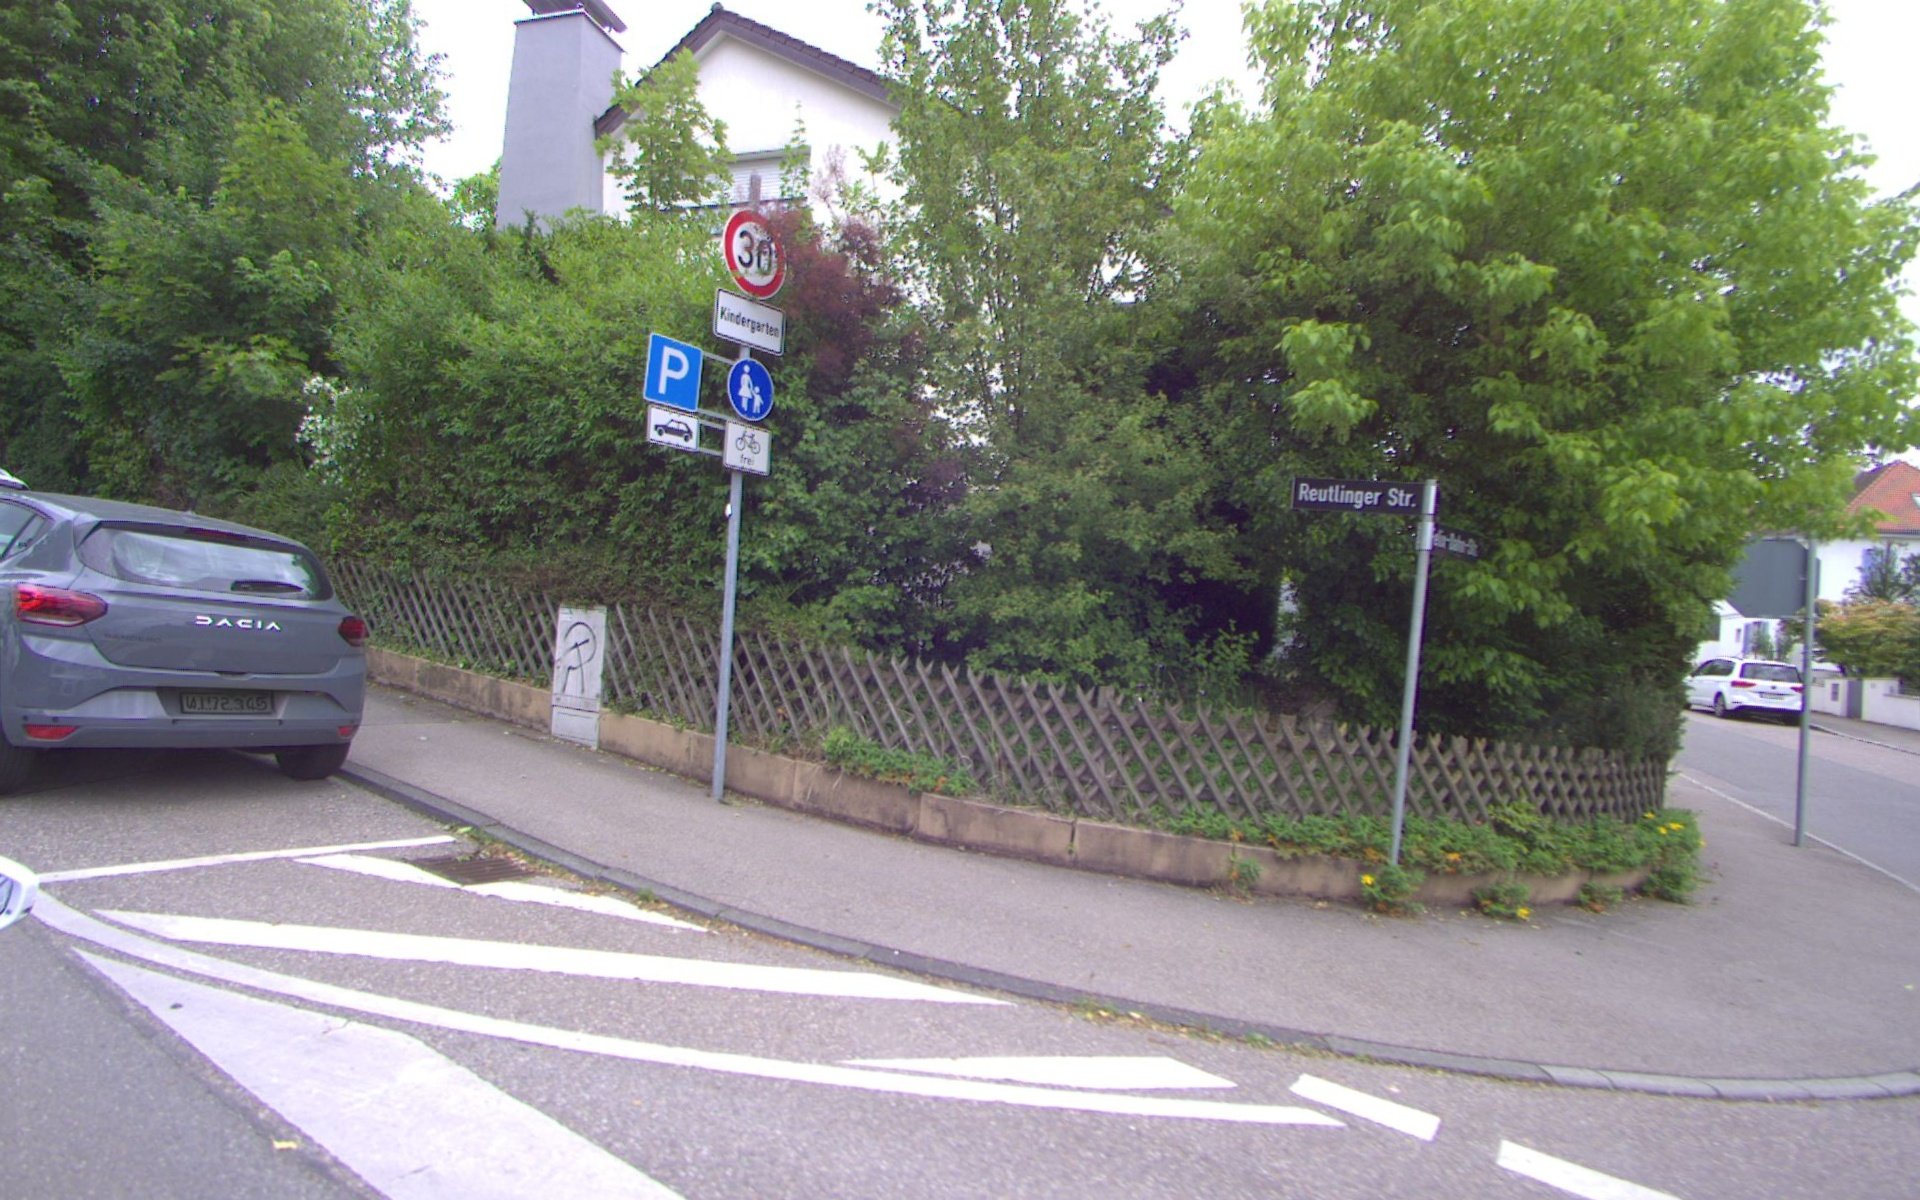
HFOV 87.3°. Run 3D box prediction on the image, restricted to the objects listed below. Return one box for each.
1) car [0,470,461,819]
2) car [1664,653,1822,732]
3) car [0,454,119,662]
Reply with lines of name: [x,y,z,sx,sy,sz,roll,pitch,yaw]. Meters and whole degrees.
car: [-5.451,0.025,6.376,4.381,1.510,1.940,8,1,31]
car: [21.385,2.468,27.698,1.851,1.660,4.137,7,1,16]
car: [-9.691,-0.618,8.683,4.675,1.629,2.004,8,1,27]
